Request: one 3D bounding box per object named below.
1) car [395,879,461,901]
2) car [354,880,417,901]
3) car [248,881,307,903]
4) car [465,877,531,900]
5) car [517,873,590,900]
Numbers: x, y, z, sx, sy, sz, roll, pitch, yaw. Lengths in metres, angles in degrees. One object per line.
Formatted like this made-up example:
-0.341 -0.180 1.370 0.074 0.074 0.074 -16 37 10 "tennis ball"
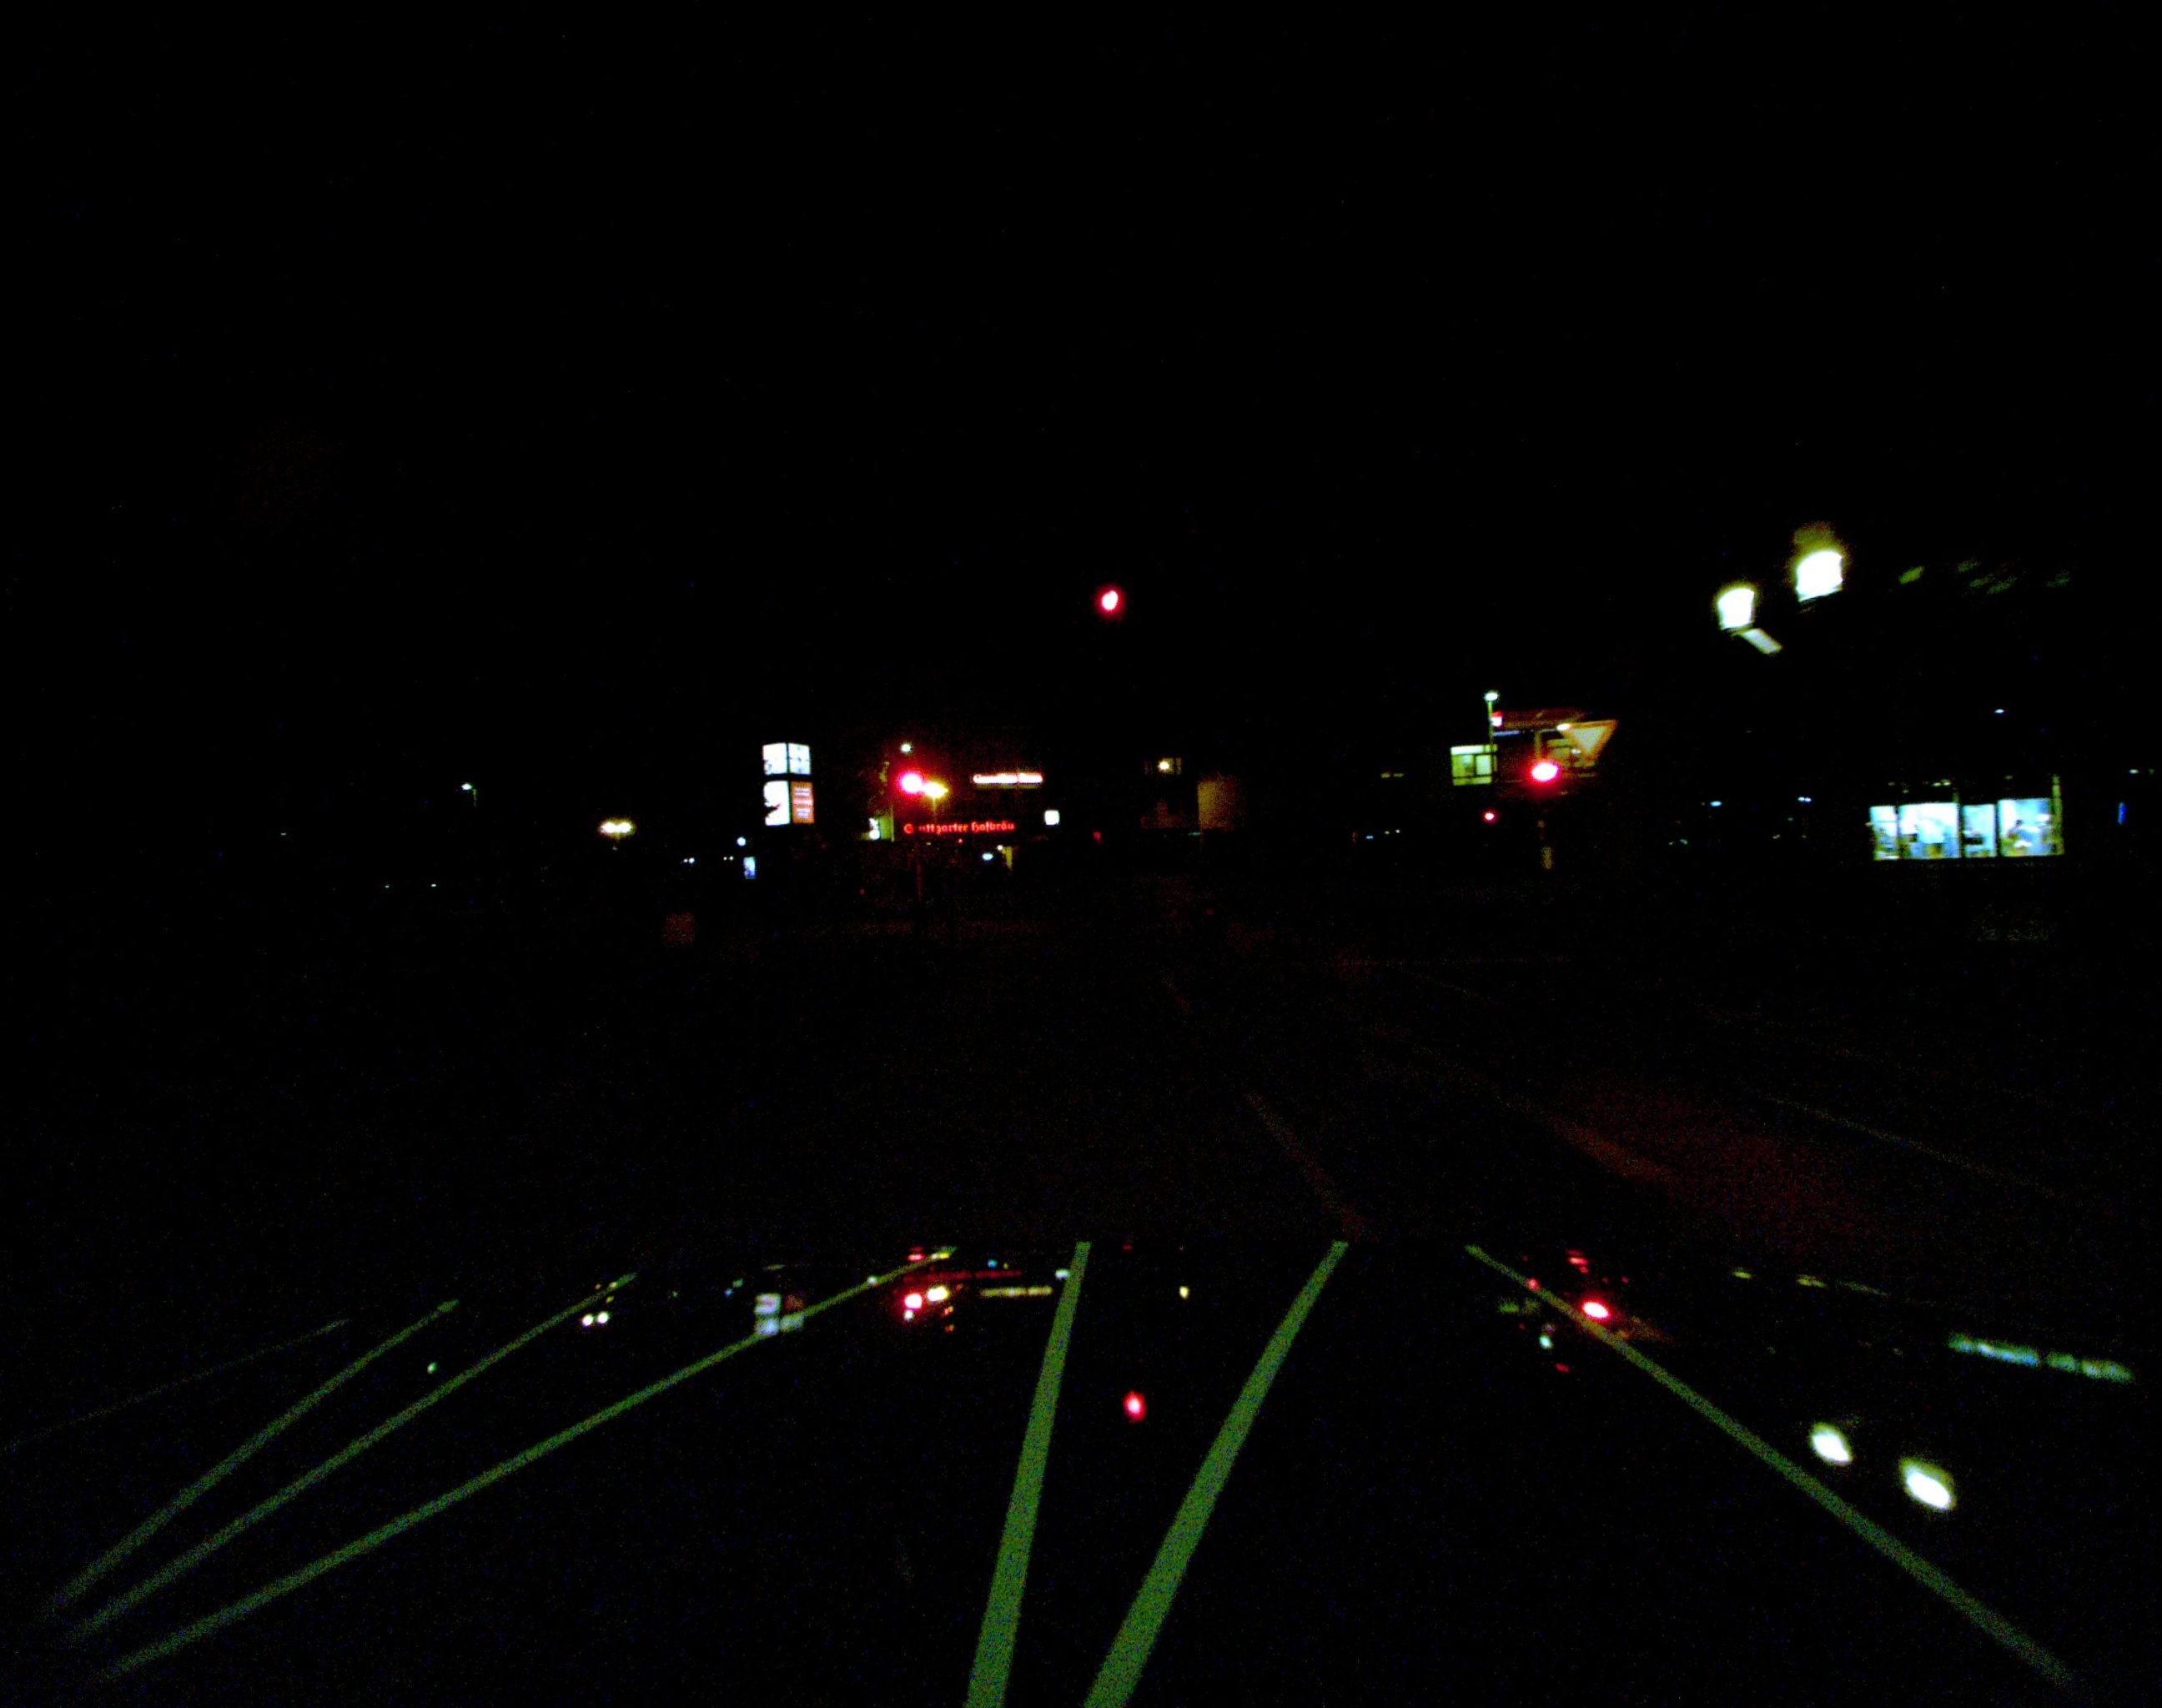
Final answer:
-46.316 2.531 53.894 3.886 1.444 1.898 -2 -1 22 "car"
-50.959 2.682 55.656 3.886 1.444 1.898 -2 -1 22 "car"
-63.510 3.015 60.033 3.886 1.616 2.017 -2 -1 24 "car"
-39.298 2.325 51.205 3.886 1.444 1.898 -2 -1 24 "car"
-34.545 2.128 49.776 3.856 1.643 1.877 -2 -1 15 "car"
